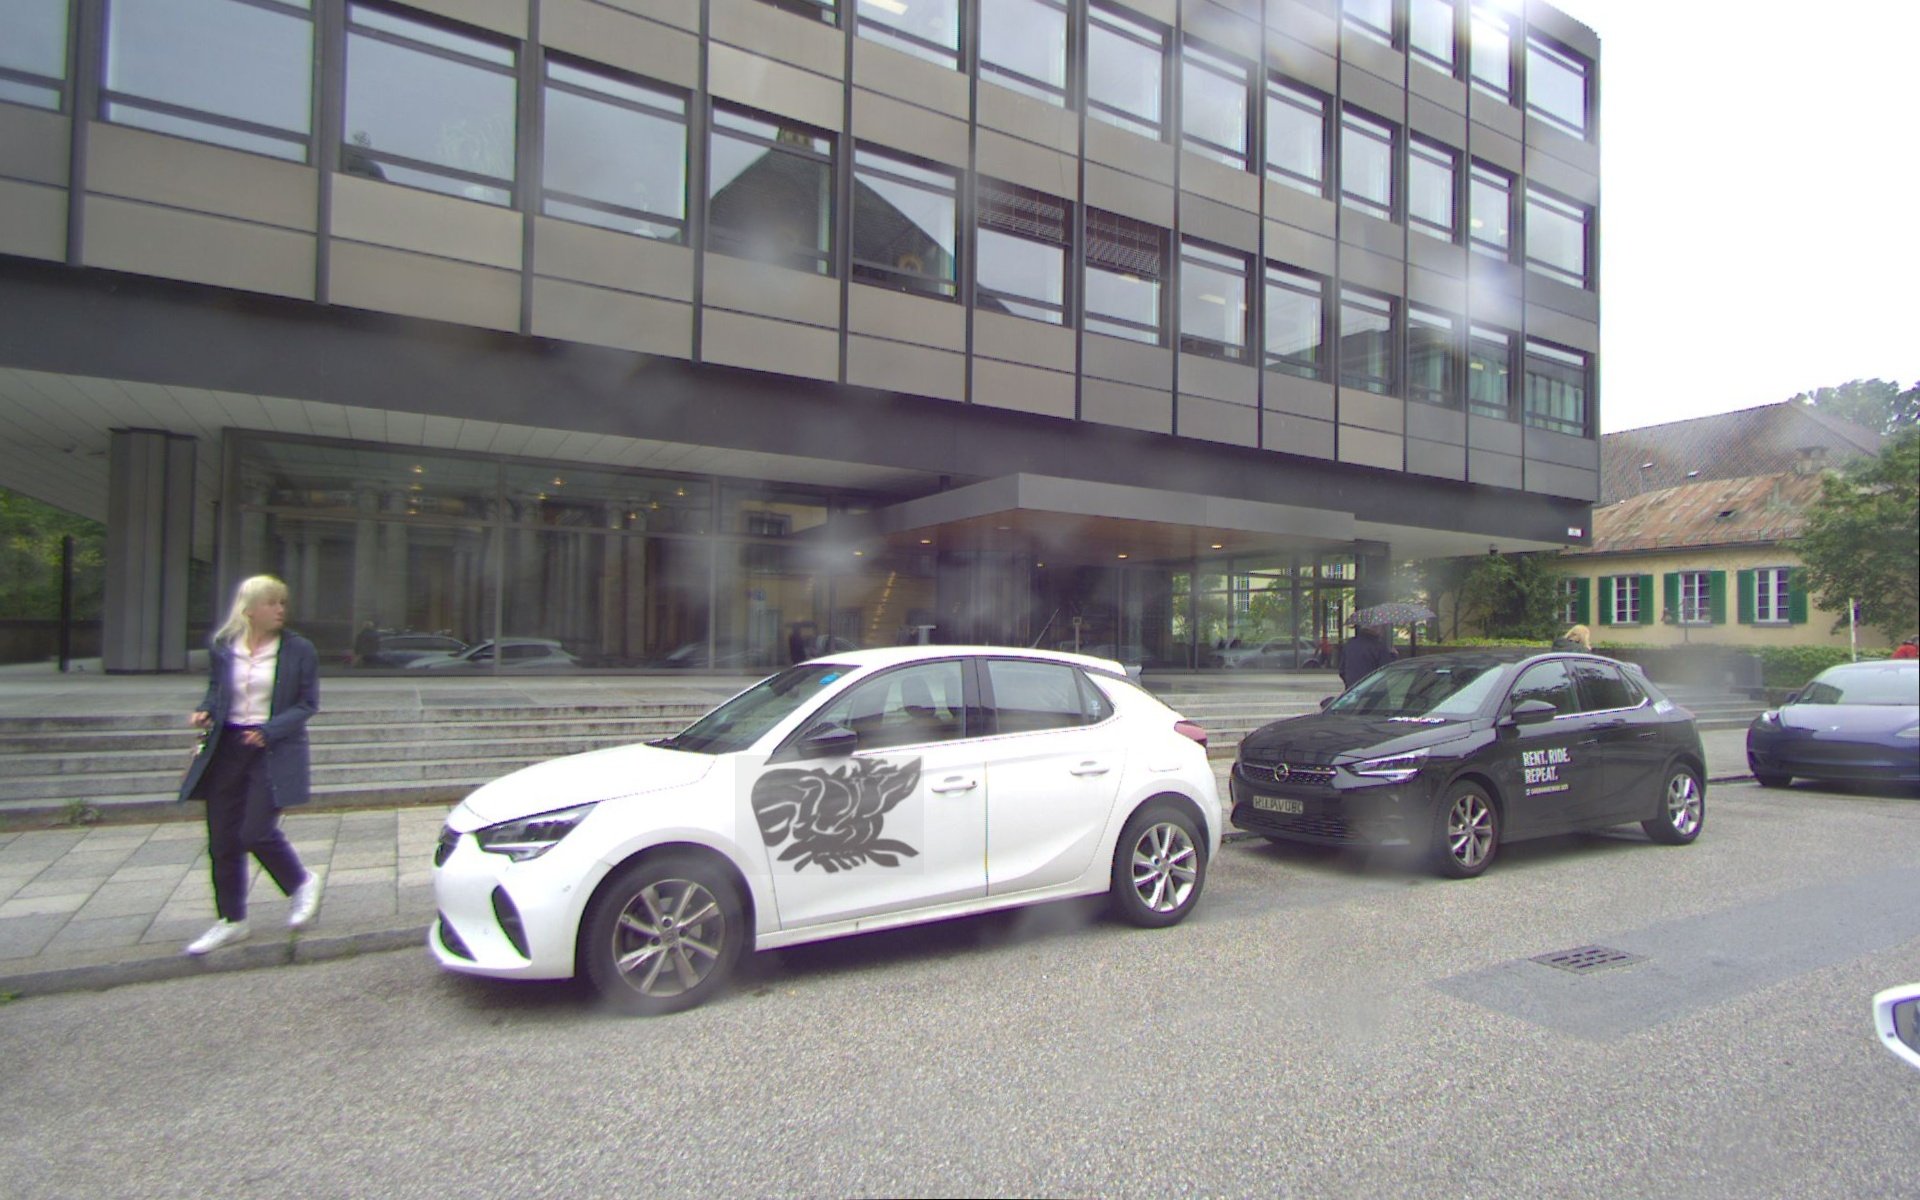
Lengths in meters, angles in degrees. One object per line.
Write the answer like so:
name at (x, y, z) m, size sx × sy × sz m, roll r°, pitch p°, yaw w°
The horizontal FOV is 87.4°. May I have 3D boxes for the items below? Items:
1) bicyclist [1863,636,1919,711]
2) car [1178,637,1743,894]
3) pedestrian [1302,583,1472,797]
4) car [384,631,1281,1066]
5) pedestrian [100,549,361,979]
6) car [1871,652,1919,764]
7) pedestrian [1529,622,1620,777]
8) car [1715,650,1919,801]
bicyclist at (19.701, 1.538, 21.060) m, size 1.077 × 1.517 × 0.671 m, roll 0°, pitch -3°, yaw 38°
car at (3.849, 1.081, 7.613) m, size 4.184 × 1.480 × 1.733 m, roll 2°, pitch -5°, yaw -29°
pedestrian at (4.488, 0.896, 10.601) m, size 1.207 × 2.082 × 1.129 m, roll 2°, pitch -1°, yaw -30°
car at (-0.497, 0.967, 5.192) m, size 4.228 × 1.458 × 1.675 m, roll 2°, pitch -5°, yaw -29°
pedestrian at (-3.343, 0.704, 4.706) m, size 0.679 × 1.774 × 0.890 m, roll 0°, pitch -4°, yaw -16°
car at (15.397, 1.519, 14.401) m, size 4.824 × 1.510 × 1.986 m, roll 2°, pitch -4°, yaw -29°
pedestrian at (7.430, 1.167, 12.144) m, size 0.745 × 1.772 × 0.947 m, roll -1°, pitch -2°, yaw 44°
car at (10.986, 1.361, 11.638) m, size 4.863 × 1.458 × 1.913 m, roll 3°, pitch -5°, yaw -32°
